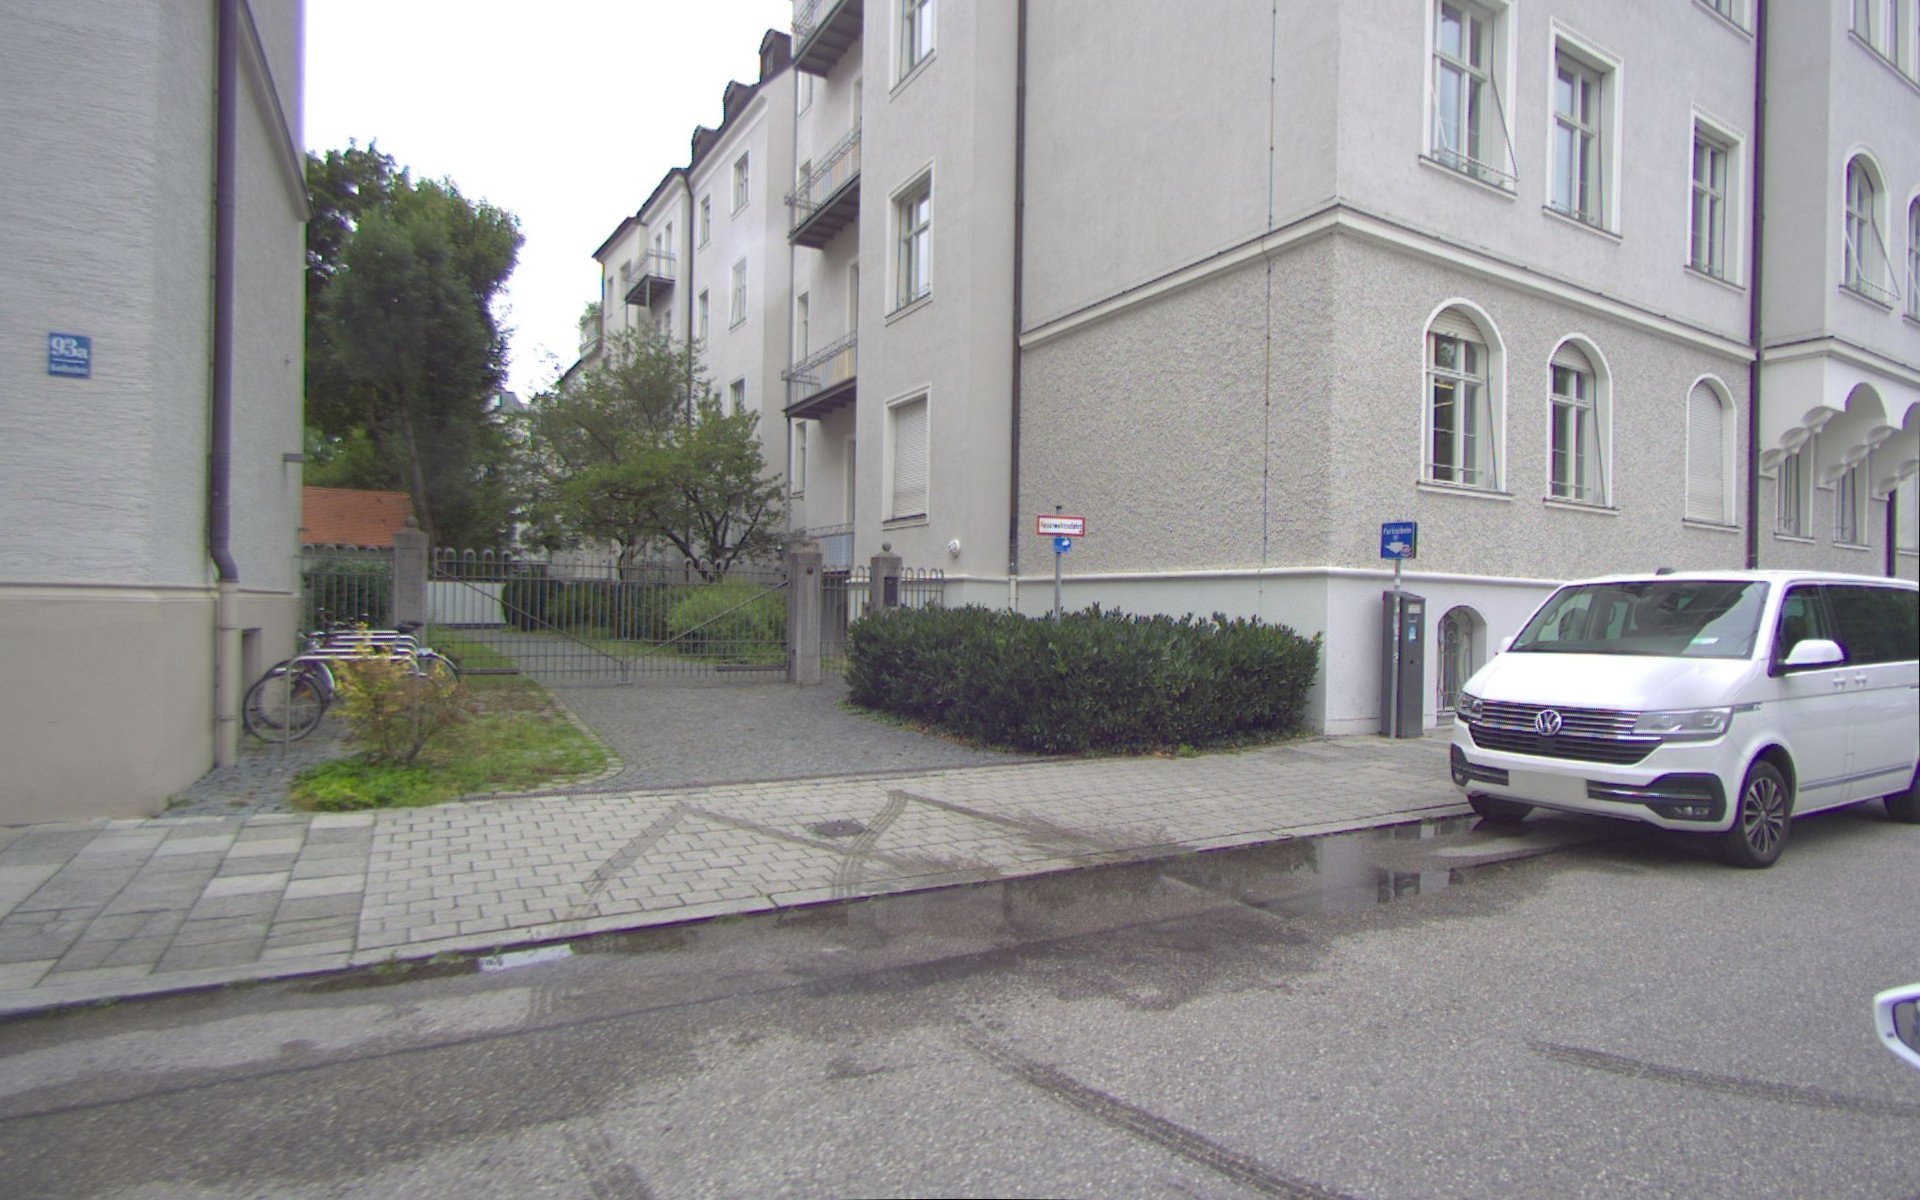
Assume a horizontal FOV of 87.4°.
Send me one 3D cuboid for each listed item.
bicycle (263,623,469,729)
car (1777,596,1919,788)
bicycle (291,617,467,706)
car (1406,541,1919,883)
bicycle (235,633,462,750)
[{"bbox_3d":[-6.005,0.752,10.246,1.759,0.998,0.445,1,0,-30],"label":"bicycle"},{"bbox_3d":[11.058,0.925,10.991,4.979,1.812,1.738,2,-2,-31],"label":"car"},{"bbox_3d":[-6.863,0.725,11.954,1.754,0.998,0.446,1,0,-24],"label":"bicycle"},{"bbox_3d":[5.826,0.711,7.842,4.901,1.964,1.846,2,-2,-31],"label":"car"},{"bbox_3d":[-5.640,0.817,9.362,1.759,0.998,0.445,1,0,-30],"label":"bicycle"}]
